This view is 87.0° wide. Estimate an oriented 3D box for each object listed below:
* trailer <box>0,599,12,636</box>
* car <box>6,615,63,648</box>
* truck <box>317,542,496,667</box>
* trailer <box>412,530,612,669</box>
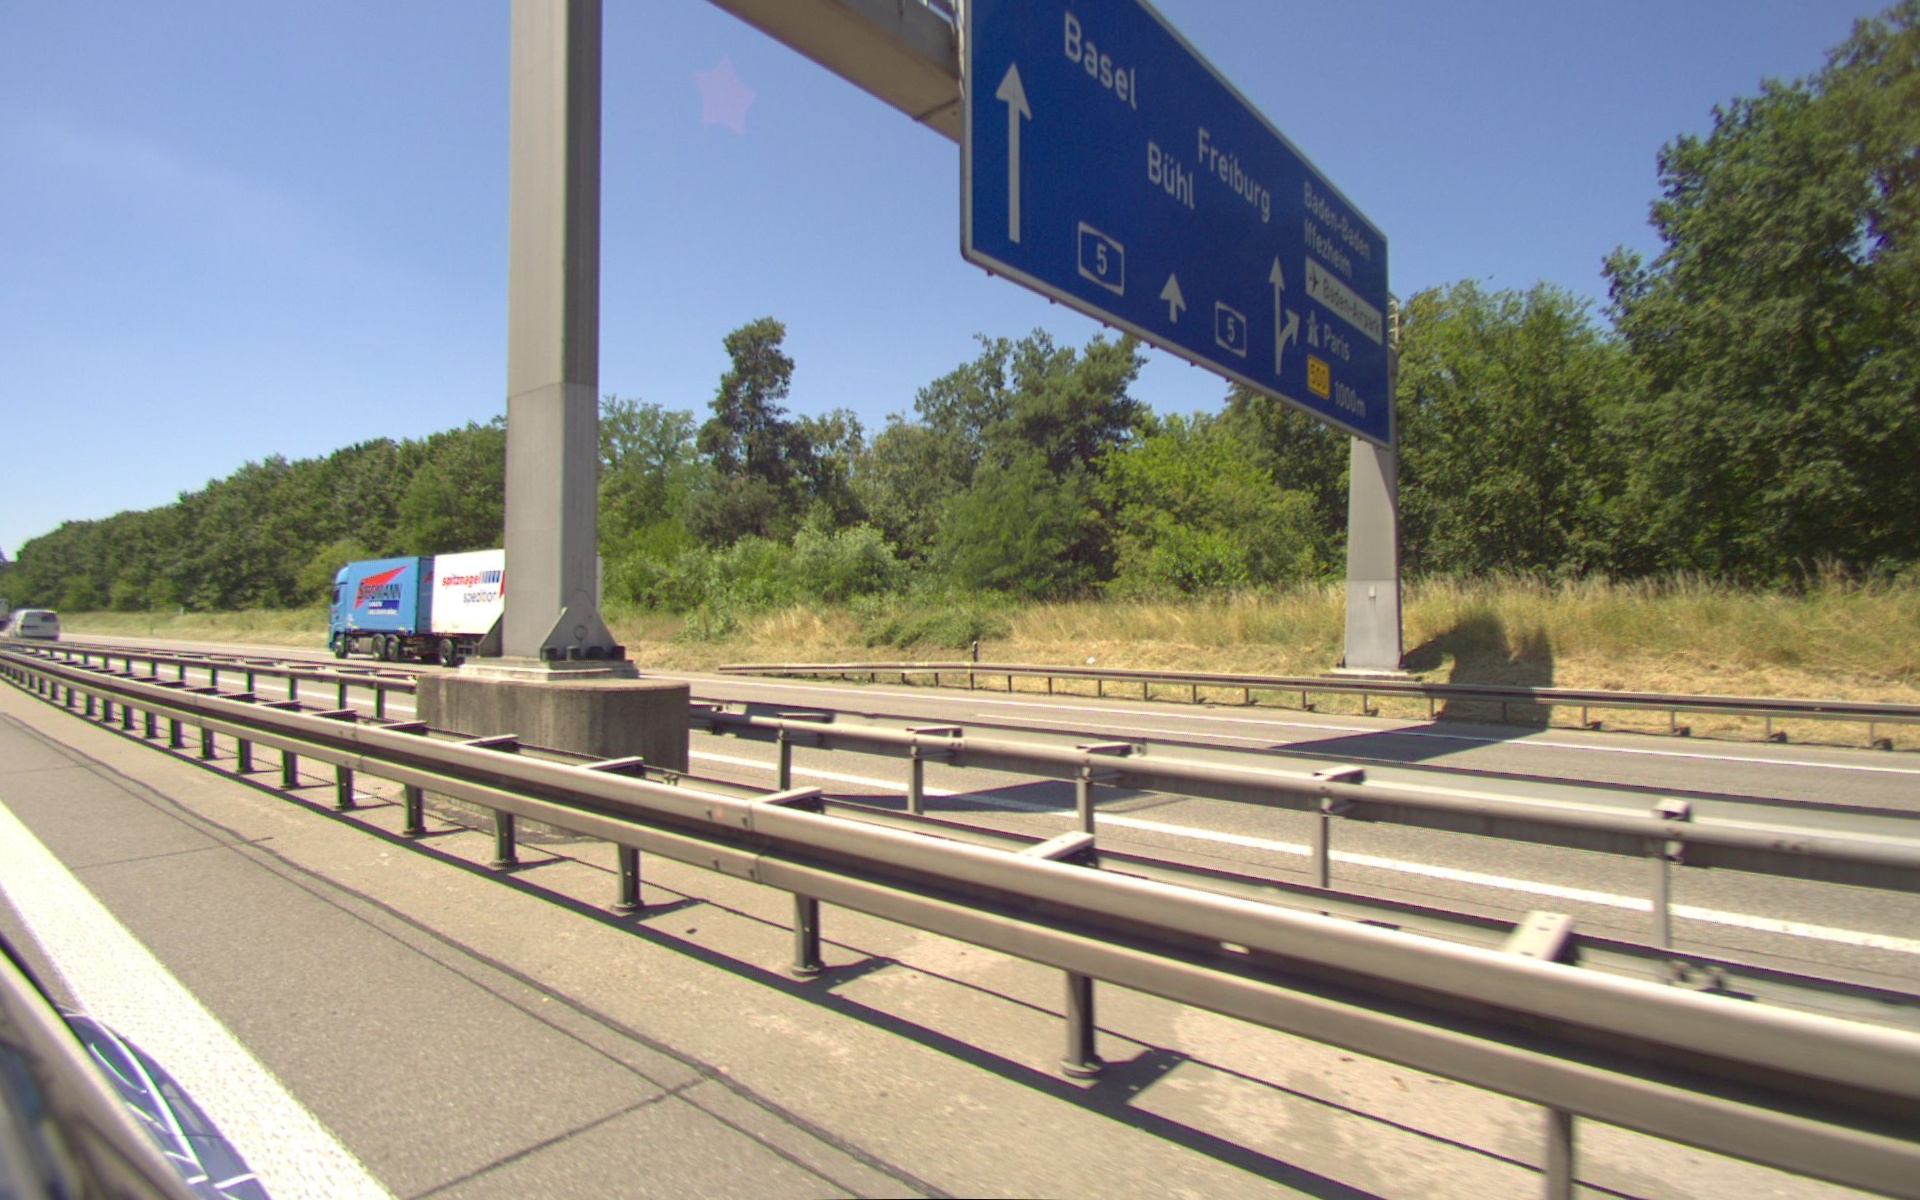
[{"bbox_3d":[-118.384,2.058,122.649,13.597,4.216,3.494,-1,-4,41],"label":"trailer"},{"bbox_3d":[-54.521,1.832,59.565,5.234,1.869,1.812,-1,-3,41],"label":"car"},{"bbox_3d":[-23.122,0.292,41.908,10.454,4.593,3.026,-1,-3,41],"label":"truck"},{"bbox_3d":[-15.858,0.096,35.435,8.631,4.315,3.026,-1,-2,41],"label":"trailer"}]
